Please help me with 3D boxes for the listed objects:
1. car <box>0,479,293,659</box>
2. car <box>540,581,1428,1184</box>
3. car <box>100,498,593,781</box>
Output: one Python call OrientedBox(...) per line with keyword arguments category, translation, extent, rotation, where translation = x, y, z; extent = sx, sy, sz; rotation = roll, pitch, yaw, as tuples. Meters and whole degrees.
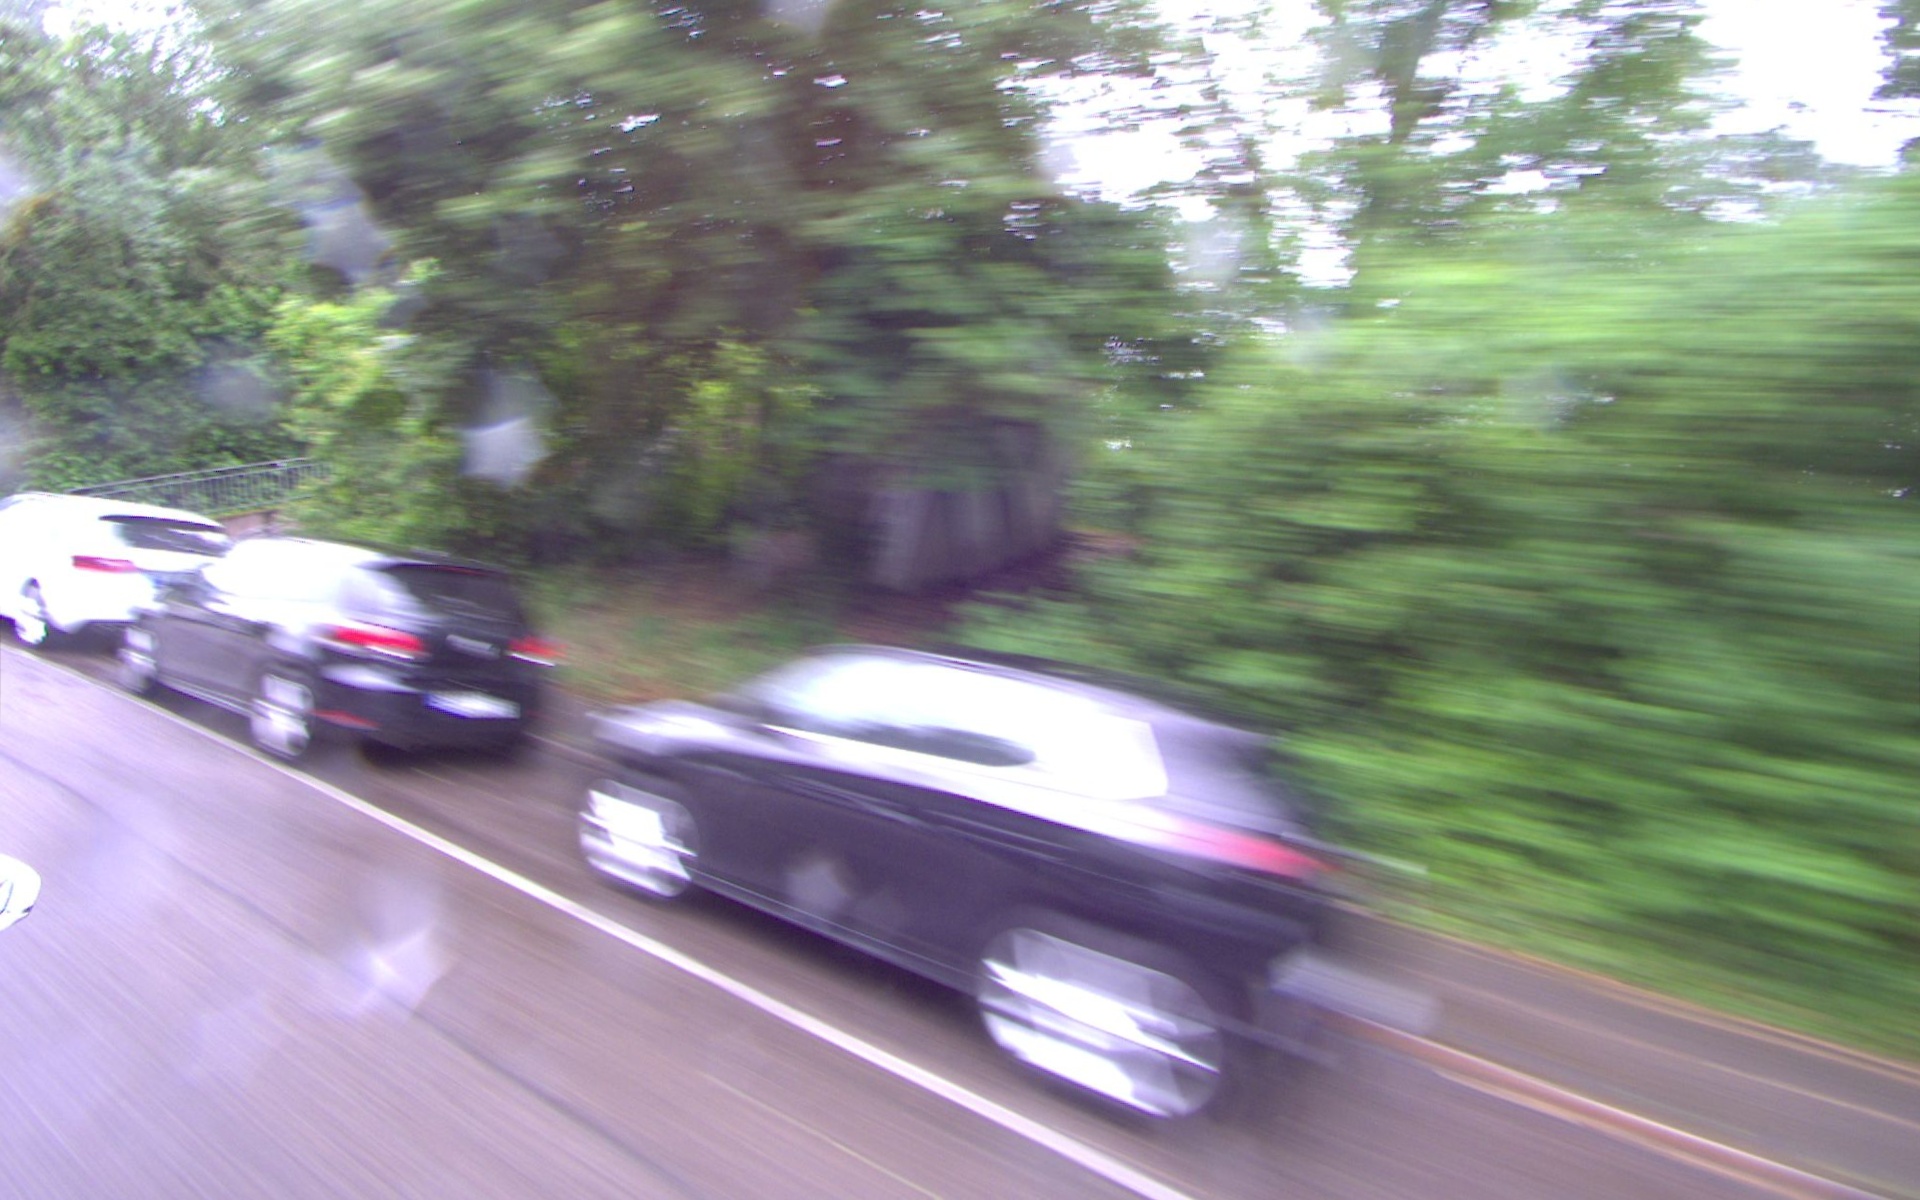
OrientedBox(category="car", translation=(-9.134, -0.403, 10.597), extent=(4.025, 1.417, 1.759), rotation=(8, 0, 29))
OrientedBox(category="car", translation=(-0.088, 0.903, 4.690), extent=(3.762, 1.405, 1.592), rotation=(8, -2, 36))
OrientedBox(category="car", translation=(-4.829, 0.205, 7.749), extent=(3.904, 1.441, 1.662), rotation=(8, 0, 34))
